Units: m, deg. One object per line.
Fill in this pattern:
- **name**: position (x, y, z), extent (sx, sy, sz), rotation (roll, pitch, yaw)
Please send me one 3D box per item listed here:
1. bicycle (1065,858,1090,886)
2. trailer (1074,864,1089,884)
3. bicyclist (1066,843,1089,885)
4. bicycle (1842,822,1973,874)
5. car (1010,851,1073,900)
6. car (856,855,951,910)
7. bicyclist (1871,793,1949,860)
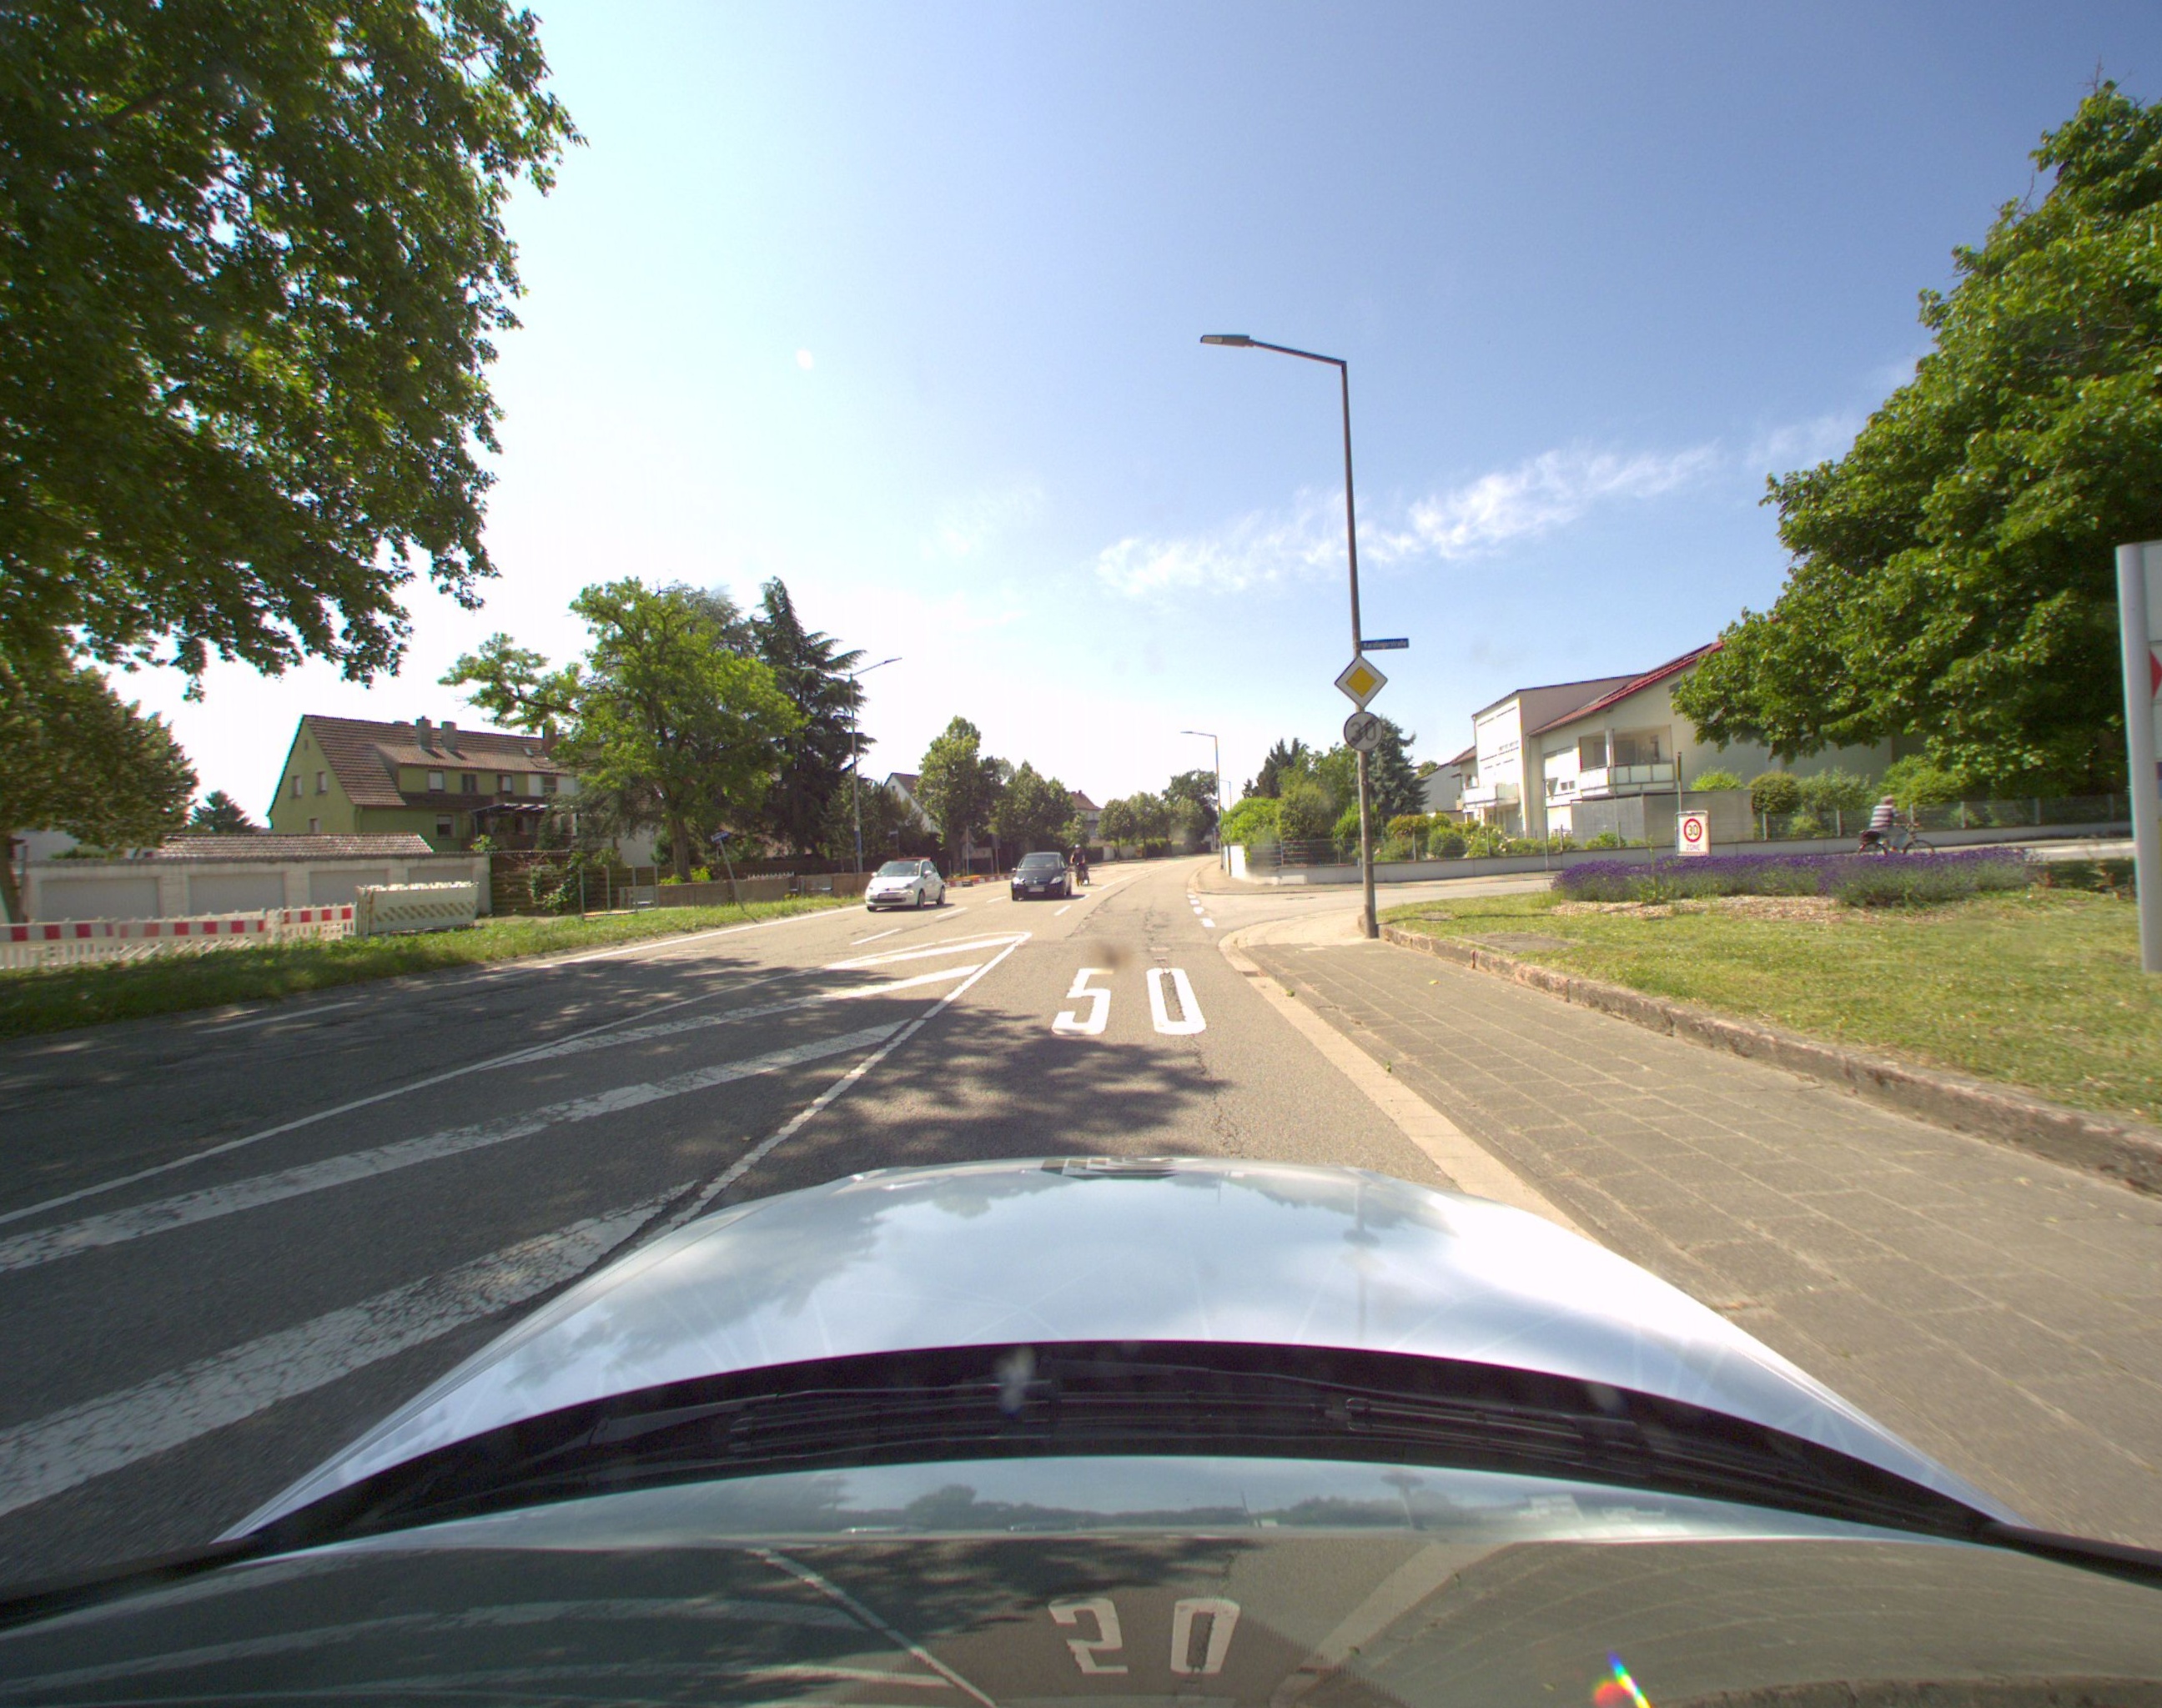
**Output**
- **bicycle**: position (-0.154, 0.802, 36.854), extent (0.846, 1.166, 1.981), rotation (-2, 0, 6)
- **trailer**: position (0.033, 0.937, 38.407), extent (0.567, 0.856, 1.134), rotation (-3, 0, 7)
- **bicyclist**: position (-0.164, 0.457, 36.867), extent (0.841, 1.865, 0.978), rotation (-2, 0, 6)
- **bicycle**: position (19.939, -0.142, 19.688), extent (2.127, 1.103, 0.818), rotation (-3, 0, 8)
- **car**: position (-1.306, 0.689, 28.182), extent (1.718, 1.532, 3.834), rotation (-1, 0, 3)
- **car**: position (-5.317, 0.822, 24.780), extent (1.689, 1.510, 3.466), rotation (-1, 0, 8)
- **bicyclist**: position (20.005, -0.657, 19.678), extent (0.920, 1.530, 0.858), rotation (-3, 0, 8)
